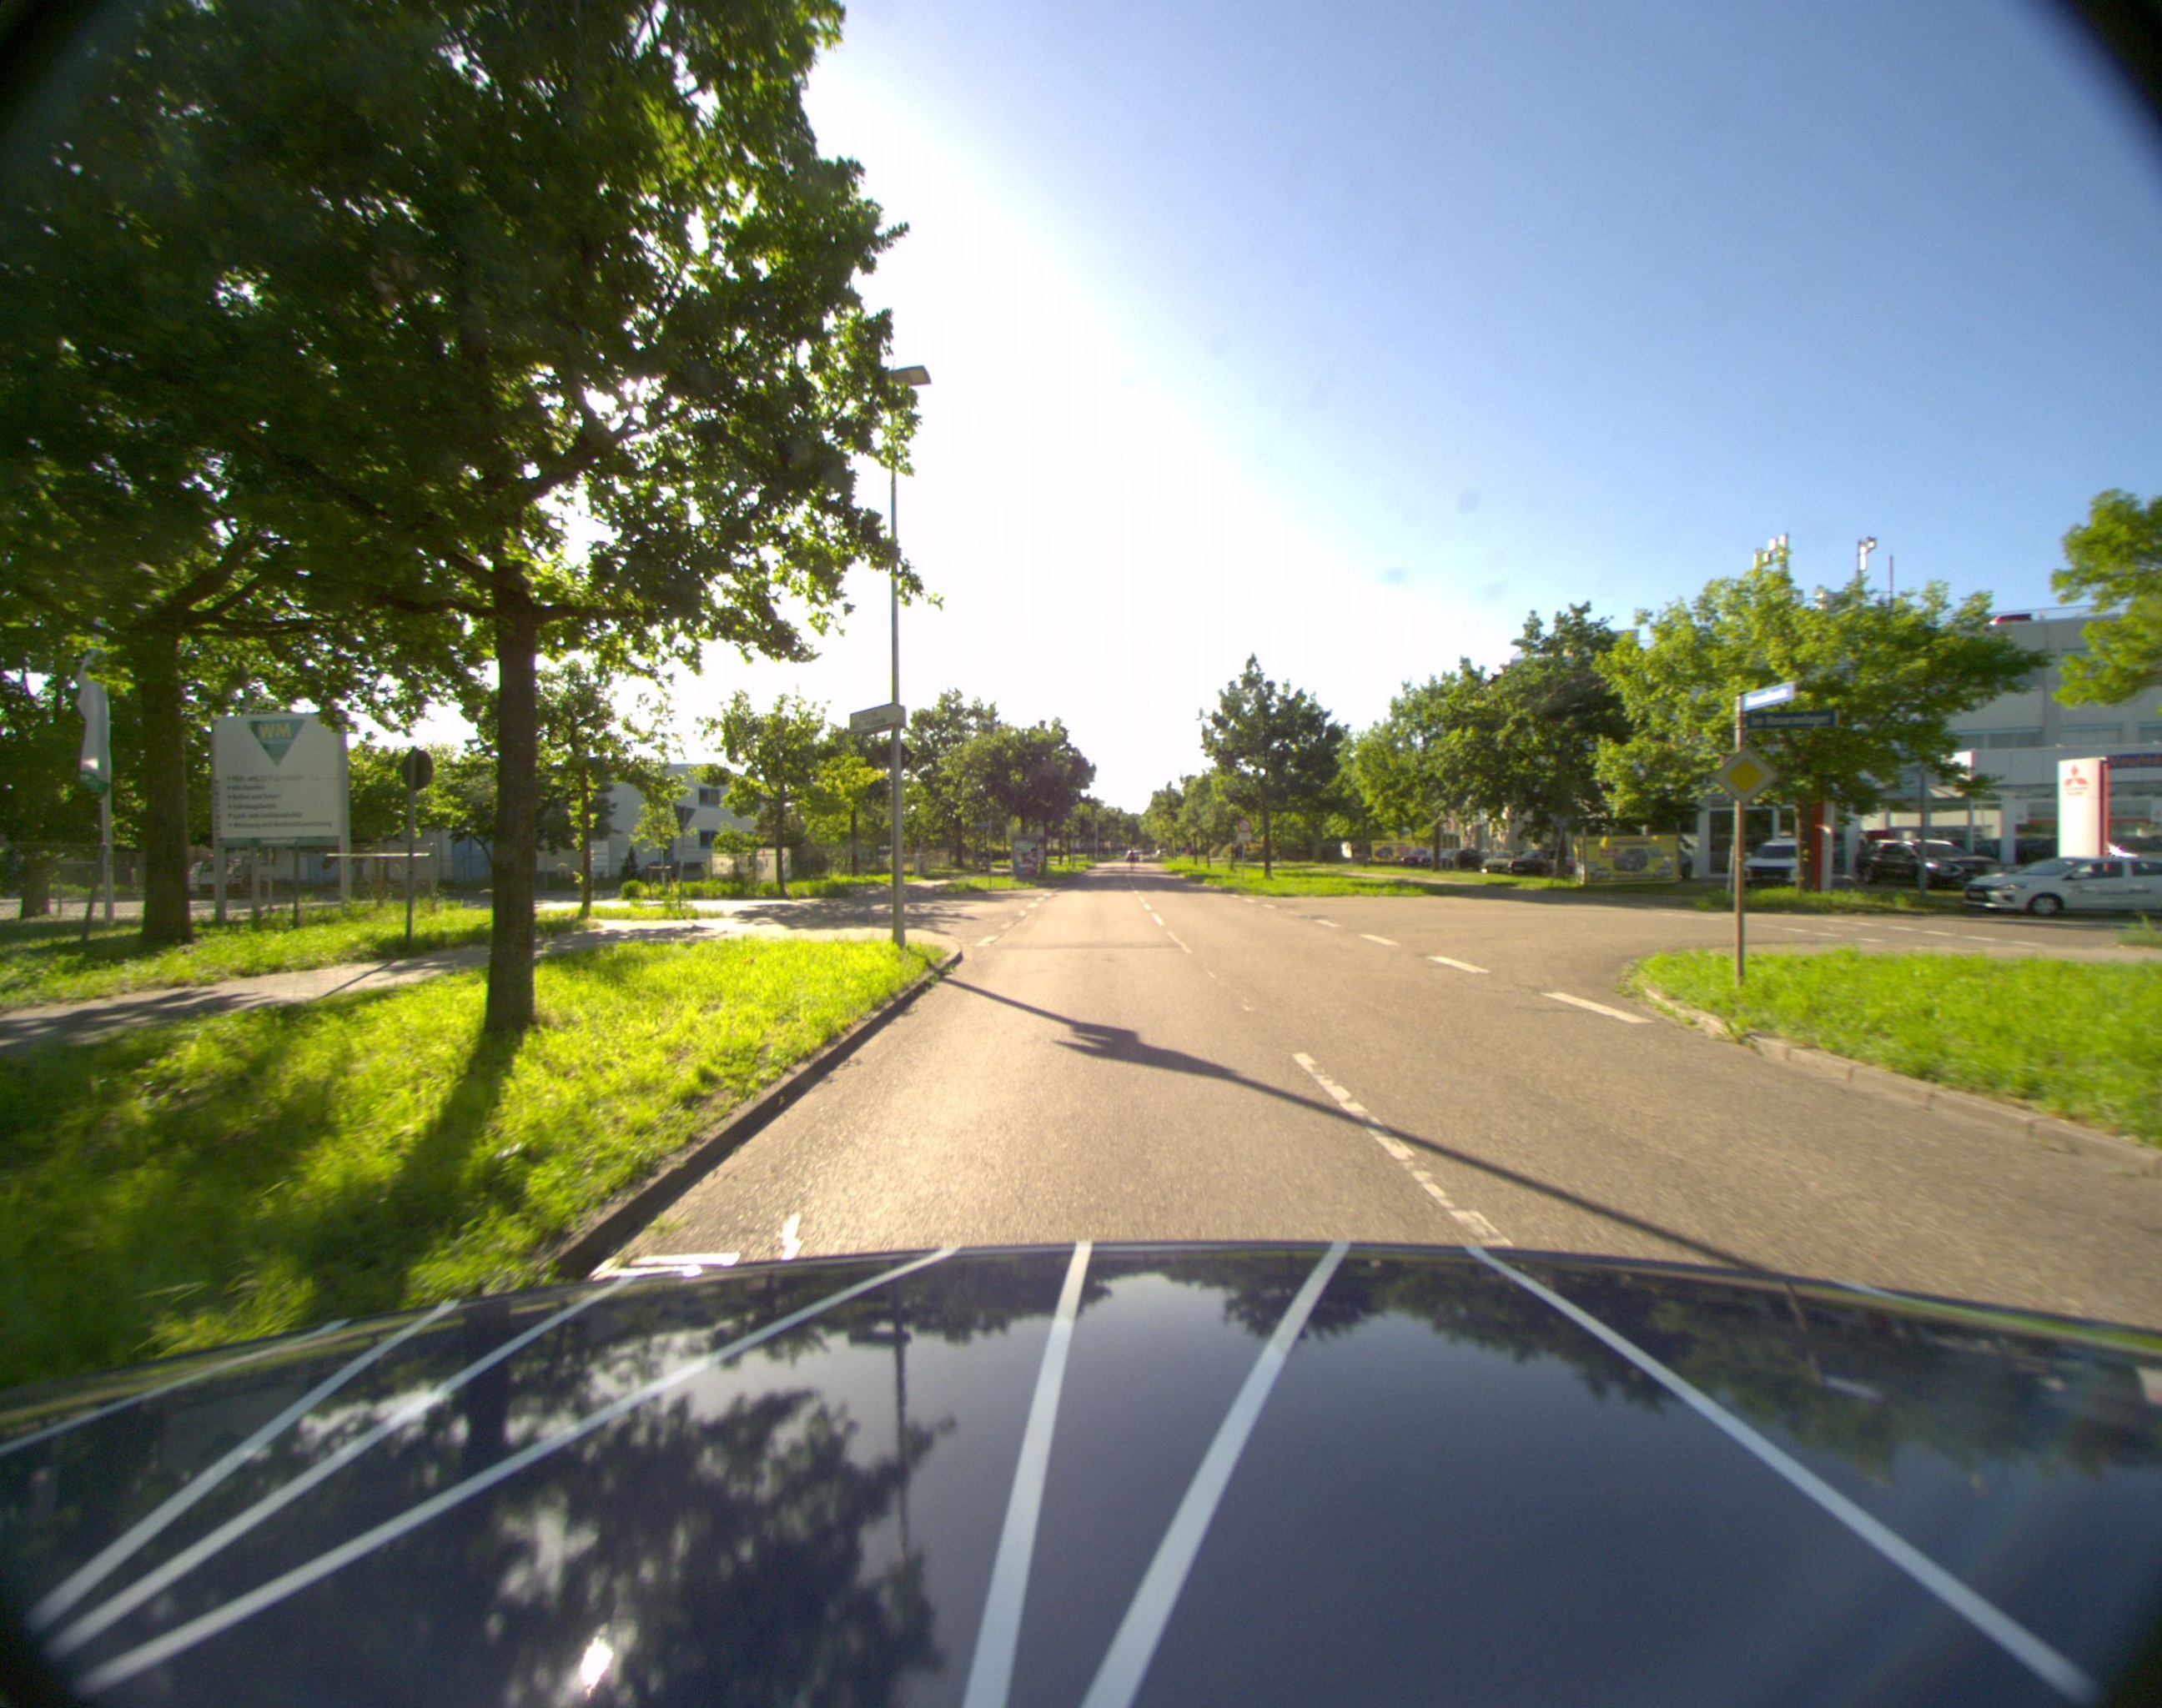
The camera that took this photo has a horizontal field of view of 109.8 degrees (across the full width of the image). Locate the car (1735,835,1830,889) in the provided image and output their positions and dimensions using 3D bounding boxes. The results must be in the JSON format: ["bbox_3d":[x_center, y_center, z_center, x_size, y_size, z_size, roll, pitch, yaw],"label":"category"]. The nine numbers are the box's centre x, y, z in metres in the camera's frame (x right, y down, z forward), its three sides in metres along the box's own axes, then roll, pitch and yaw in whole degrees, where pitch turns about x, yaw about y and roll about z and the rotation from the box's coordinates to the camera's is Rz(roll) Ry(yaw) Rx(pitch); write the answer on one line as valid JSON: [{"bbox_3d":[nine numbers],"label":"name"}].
[{"bbox_3d":[27.912,0.257,30.189,4.868,2.002,1.994,-1,1,-38],"label":"car"}]

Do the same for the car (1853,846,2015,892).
[{"bbox_3d":[31.551,0.503,28.315,1.996,1.562,4.174,0,1,14],"label":"car"}]

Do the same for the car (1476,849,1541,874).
[{"bbox_3d":[25.286,0.395,44.931,3.961,1.393,1.994,-1,1,-38],"label":"car"}]

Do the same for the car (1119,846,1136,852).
[{"bbox_3d":[13.046,-1.410,214.018,4.509,1.471,1.942,0,1,8],"label":"car"}]

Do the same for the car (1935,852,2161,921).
[{"bbox_3d":[24.807,0.789,19.237,3.747,1.608,1.966,0,1,17],"label":"car"}]

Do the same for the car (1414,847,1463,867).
[{"bbox_3d":[26.934,0.230,57.166,4.008,1.440,1.796,-1,1,-39],"label":"car"}]

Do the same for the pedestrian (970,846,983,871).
[{"bbox_3d":[-7.503,0.313,54.581,0.727,1.745,0.867,0,1,3],"label":"pedestrian"}]

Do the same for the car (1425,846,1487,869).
[{"bbox_3d":[26.613,0.248,53.917,4.005,1.502,1.797,-1,0,-26],"label":"car"}]

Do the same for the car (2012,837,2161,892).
[{"bbox_3d":[36.618,0.312,26.966,1.996,1.802,4.877,0,1,15],"label":"car"}]

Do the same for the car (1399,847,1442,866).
[{"bbox_3d":[27.179,0.166,60.801,4.008,1.440,1.796,-1,1,-44],"label":"car"}]

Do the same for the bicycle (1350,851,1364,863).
[{"bbox_3d":[24.824,0.259,68.338,0.640,1.081,1.891,0,1,3],"label":"bicycle"}]

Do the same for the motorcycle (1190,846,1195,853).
[{"bbox_3d":[22.955,-0.978,156.428,0.739,1.424,1.992,-4,0,6],"label":"motorcycle"}]

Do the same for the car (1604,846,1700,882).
[{"bbox_3d":[26.468,0.419,35.196,4.176,1.553,1.995,-1,1,-28],"label":"car"}]

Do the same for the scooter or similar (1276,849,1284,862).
[{"bbox_3d":[18.510,0.134,70.672,0.396,1.272,1.441,0,1,4],"label":"scooter or similar"}]

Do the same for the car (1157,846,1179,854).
[{"bbox_3d":[17.996,-0.759,157.166,4.421,1.547,2.089,-2,1,7],"label":"car"}]

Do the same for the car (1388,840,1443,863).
[{"bbox_3d":[28.866,-0.220,65.598,4.023,1.773,2.027,-2,0,14],"label":"car"}]

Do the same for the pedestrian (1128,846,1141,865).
[{"bbox_3d":[4.733,0.155,67.029,1.022,1.642,1.099,0,1,-3],"label":"pedestrian"}]

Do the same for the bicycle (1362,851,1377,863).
[{"bbox_3d":[25.802,0.258,67.973,0.640,1.081,1.891,0,1,3],"label":"bicycle"}]

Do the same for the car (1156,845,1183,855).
[{"bbox_3d":[15.902,-0.752,136.276,4.637,1.549,2.192,-2,0,2],"label":"car"}]

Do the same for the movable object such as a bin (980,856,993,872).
[{"bbox_3d":[-6.753,0.697,54.325,0.727,1.075,0.867,1,1,3],"label":"movable object such as a bin"}]

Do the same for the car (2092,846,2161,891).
[{"bbox_3d":[39.091,0.513,26.483,1.996,1.553,4.876,0,1,14],"label":"car"}]

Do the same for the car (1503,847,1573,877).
[{"bbox_3d":[24.993,0.390,41.516,4.178,1.529,1.891,-1,1,-38],"label":"car"}]

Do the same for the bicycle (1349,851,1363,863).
[{"bbox_3d":[25.218,0.244,69.724,0.640,1.081,1.891,0,1,3],"label":"bicycle"}]

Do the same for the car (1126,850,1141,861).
[{"bbox_3d":[6.870,0.205,99.579,1.748,1.456,4.426,0,0,0],"label":"car"}]

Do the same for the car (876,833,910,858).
[{"bbox_3d":[-20.282,-0.885,82.027,2.165,2.628,4.851,0,1,4],"label":"car"}]

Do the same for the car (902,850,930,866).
[{"bbox_3d":[-17.655,0.371,81.486,2.010,1.654,3.597,0,1,4],"label":"car"}]

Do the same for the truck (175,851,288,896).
[{"bbox_3d":[-43.661,0.970,39.060,5.142,2.101,2.002,0,3,20],"label":"truck"}]

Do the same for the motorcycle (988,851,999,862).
[{"bbox_3d":[-11.800,0.348,102.754,0.663,1.225,2.407,0,5,15],"label":"motorcycle"}]

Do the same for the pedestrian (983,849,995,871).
[{"bbox_3d":[-6.698,0.413,55.181,0.727,1.594,0.867,0,1,3],"label":"pedestrian"}]
